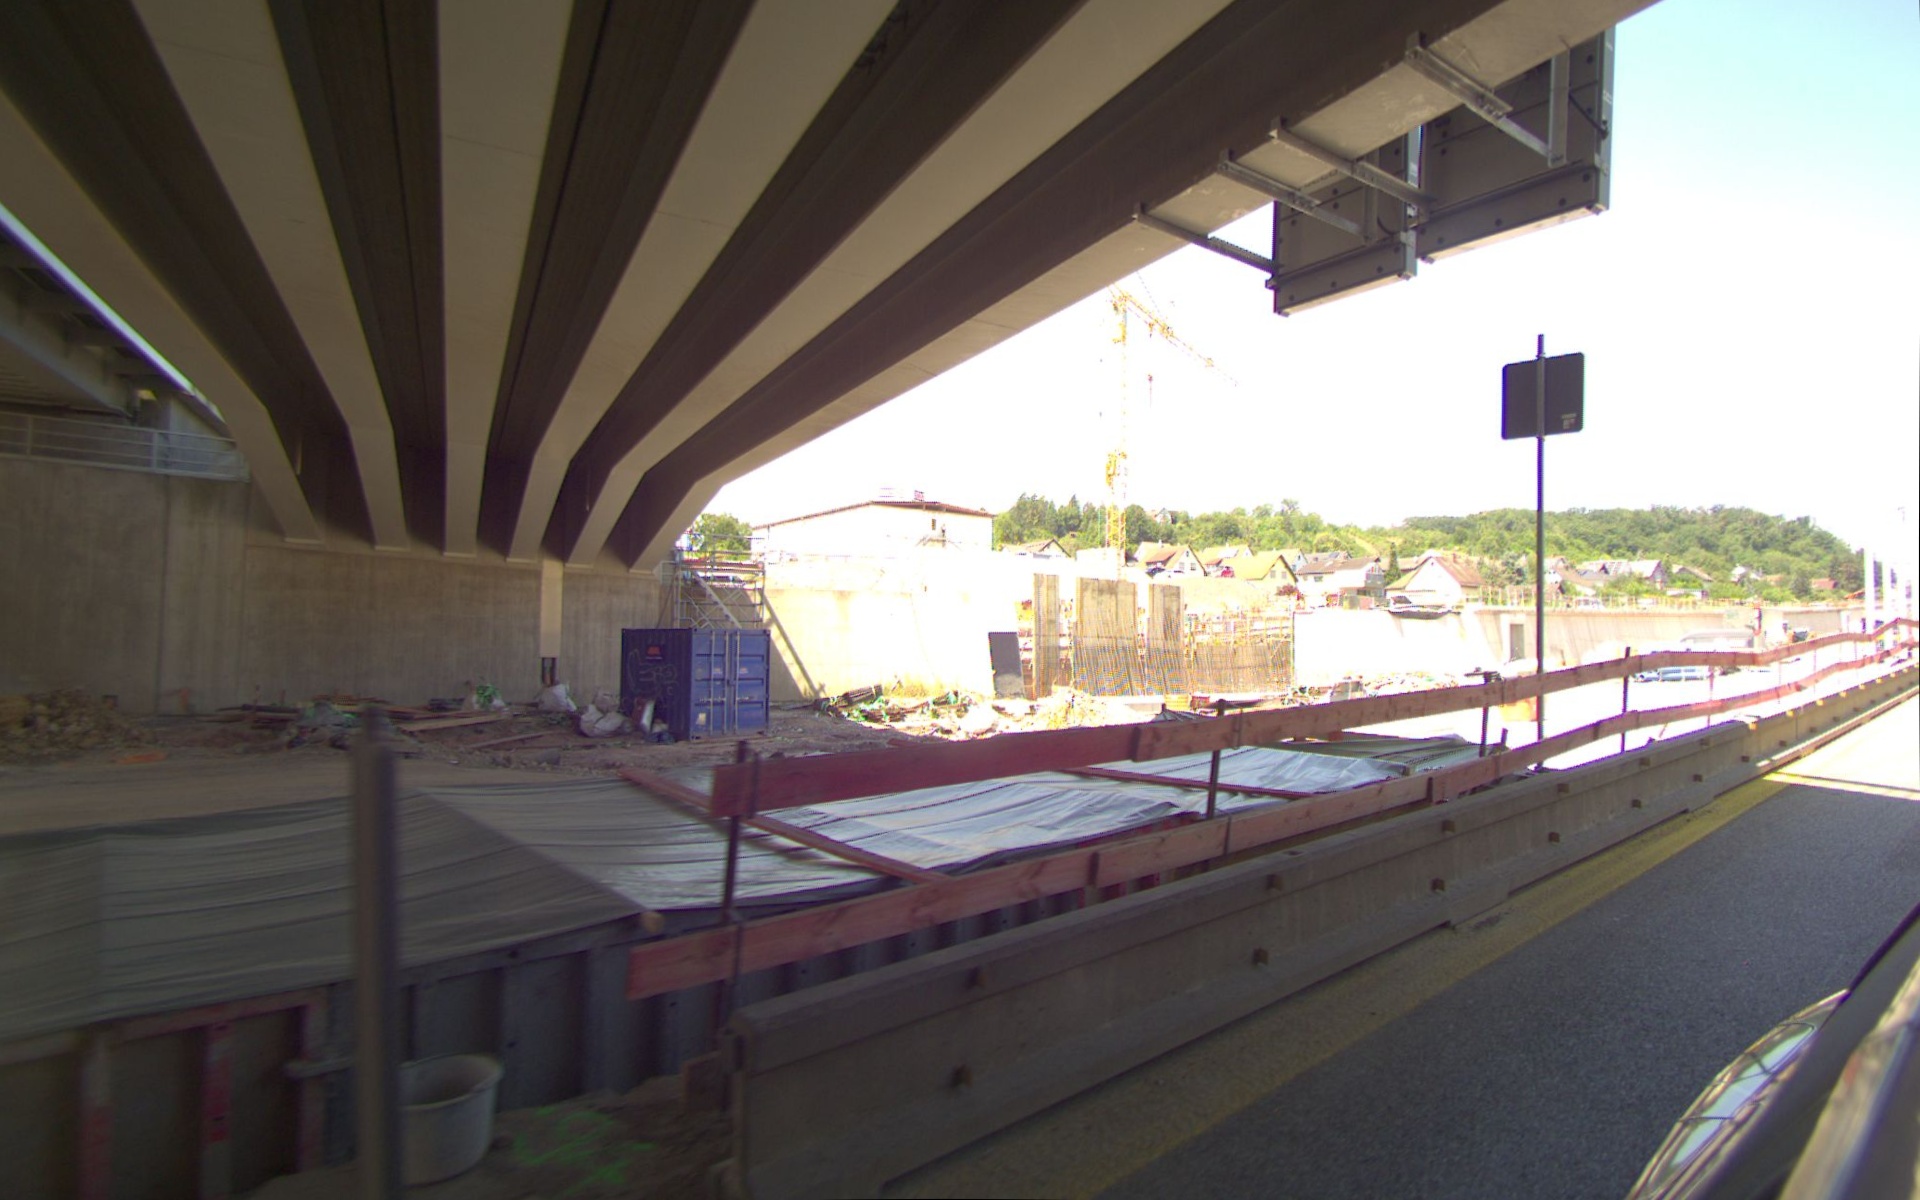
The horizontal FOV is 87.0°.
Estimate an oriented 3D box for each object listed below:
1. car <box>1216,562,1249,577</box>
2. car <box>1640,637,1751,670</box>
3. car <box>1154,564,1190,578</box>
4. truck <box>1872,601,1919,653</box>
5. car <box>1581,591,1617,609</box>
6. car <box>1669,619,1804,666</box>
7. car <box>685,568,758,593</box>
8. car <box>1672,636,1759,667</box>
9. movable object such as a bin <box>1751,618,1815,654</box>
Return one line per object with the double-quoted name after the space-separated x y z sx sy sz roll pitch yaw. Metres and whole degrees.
28.122 -3.165 104.290 3.544 1.505 1.544 -1 1 -40 "car"
41.679 3.017 57.470 1.689 1.792 4.797 1 -2 -40 "car"
23.506 -3.187 112.178 4.141 1.505 1.728 -1 1 -40 "car"
67.256 1.858 72.226 5.341 3.447 2.503 -1 0 -40 "truck"
60.859 0.008 96.328 4.527 1.623 1.656 -1 1 -41 "car"
47.130 2.634 61.644 6.268 2.615 2.027 -4 -4 37 "car"
-19.459 -1.621 82.669 5.468 1.984 1.999 -1 1 -37 "car"
44.238 2.993 59.325 1.665 1.708 3.860 0 -2 -45 "car"
69.818 3.018 85.885 3.924 2.820 3.270 -1 1 -35 "movable object such as a bin"
